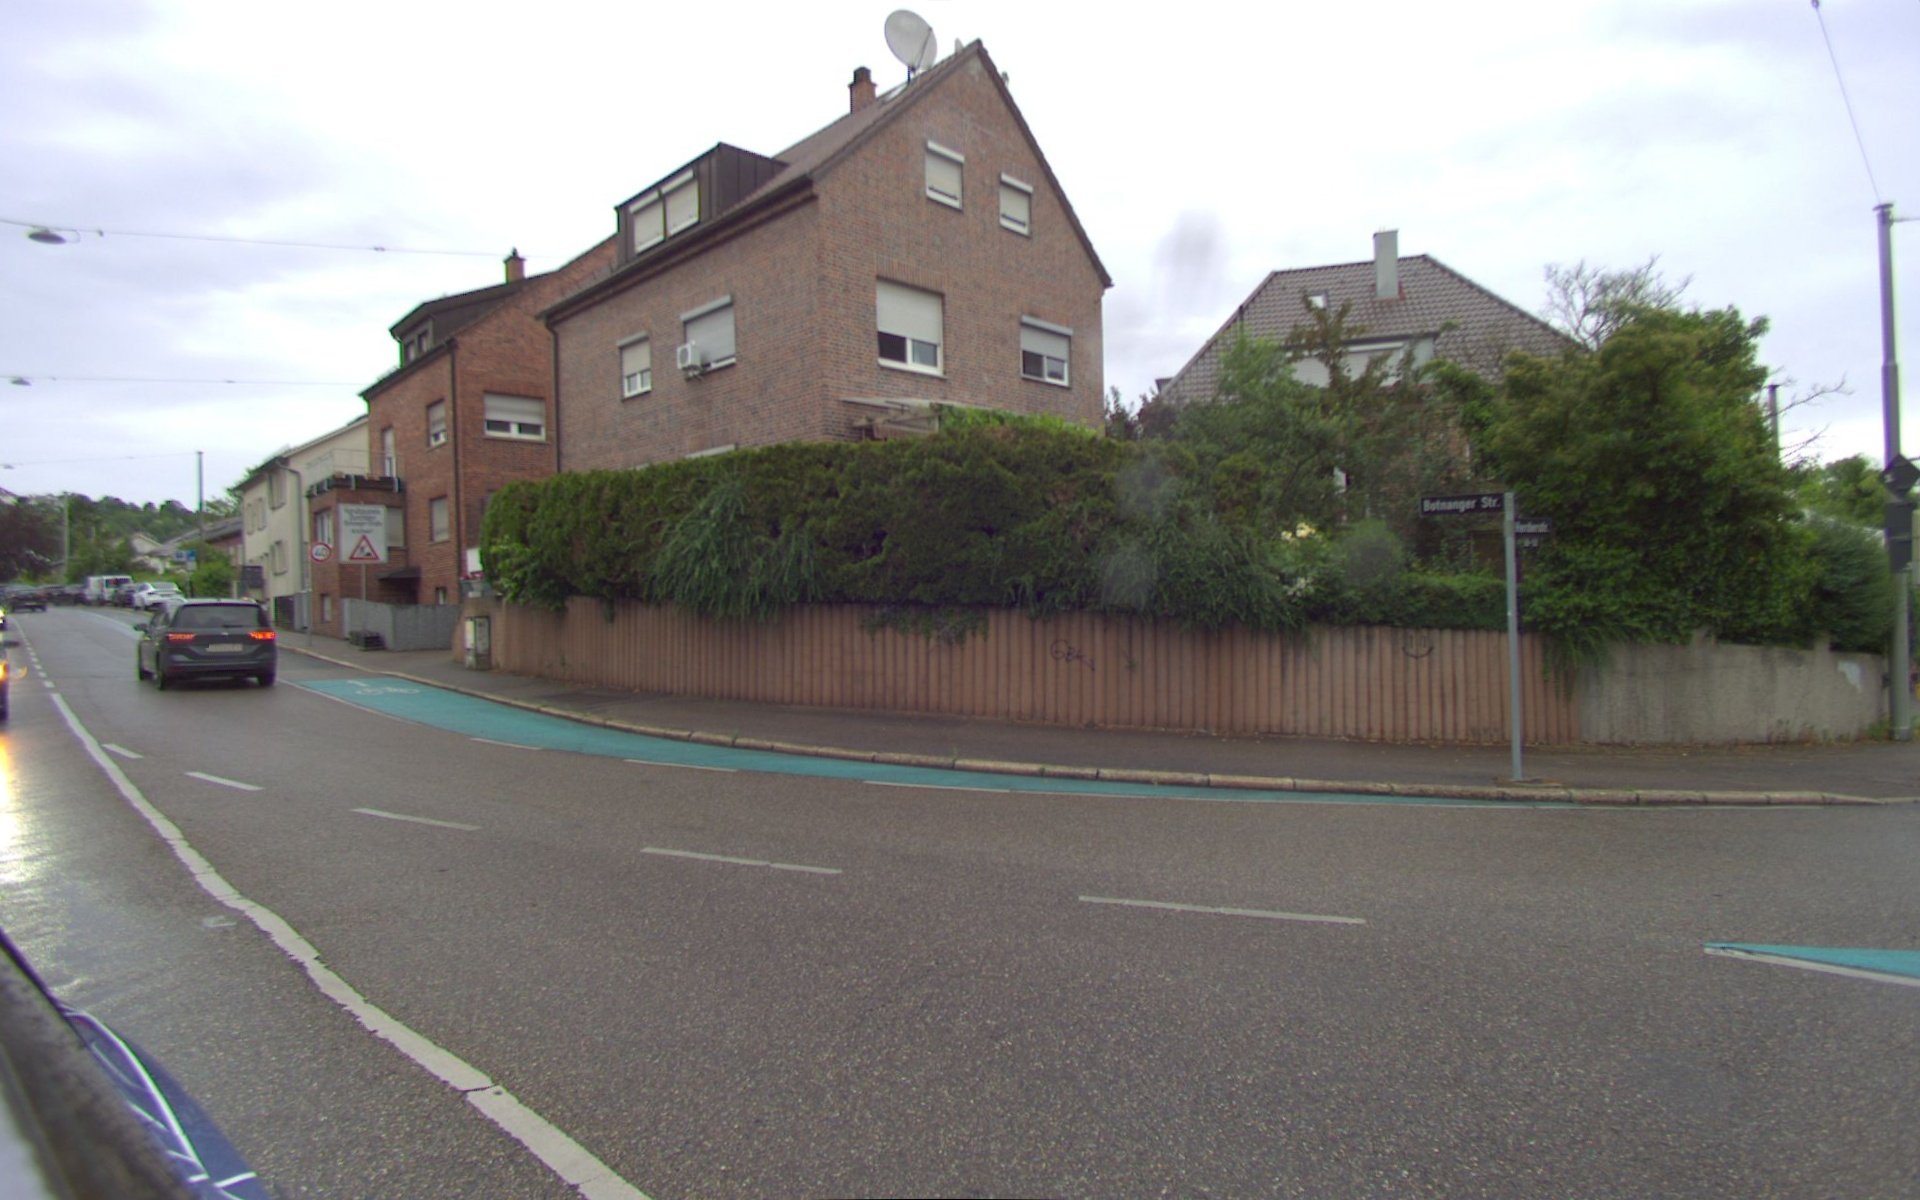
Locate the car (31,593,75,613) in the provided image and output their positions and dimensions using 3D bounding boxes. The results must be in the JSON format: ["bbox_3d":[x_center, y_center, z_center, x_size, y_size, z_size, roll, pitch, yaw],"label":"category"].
[{"bbox_3d":[-66.550,0.203,74.246,3.853,1.407,1.635,-1,2,36],"label":"car"}]

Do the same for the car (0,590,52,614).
[{"bbox_3d":[-58.293,0.093,63.141,3.715,1.457,1.896,0,0,40],"label":"car"}]

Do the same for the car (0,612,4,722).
[{"bbox_3d":[-14.601,0.884,14.010,4.002,1.426,1.845,0,0,44],"label":"car"}]

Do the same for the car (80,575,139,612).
[{"bbox_3d":[-57.116,-0.429,67.937,4.544,2.303,2.229,0,2,40],"label":"car"}]

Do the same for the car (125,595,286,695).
[{"bbox_3d":[-14.609,0.795,19.505,4.174,1.693,1.828,1,-1,45],"label":"car"}]

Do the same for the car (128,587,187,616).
[{"bbox_3d":[-46.462,0.067,58.556,4.262,1.577,1.921,0,2,42],"label":"car"}]

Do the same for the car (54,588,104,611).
[{"bbox_3d":[-61.670,-0.051,70.803,4.001,1.501,1.636,-1,2,34],"label":"car"}]

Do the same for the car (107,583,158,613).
[{"bbox_3d":[-52.446,-0.113,64.110,4.262,1.817,1.791,0,2,42],"label":"car"}]
